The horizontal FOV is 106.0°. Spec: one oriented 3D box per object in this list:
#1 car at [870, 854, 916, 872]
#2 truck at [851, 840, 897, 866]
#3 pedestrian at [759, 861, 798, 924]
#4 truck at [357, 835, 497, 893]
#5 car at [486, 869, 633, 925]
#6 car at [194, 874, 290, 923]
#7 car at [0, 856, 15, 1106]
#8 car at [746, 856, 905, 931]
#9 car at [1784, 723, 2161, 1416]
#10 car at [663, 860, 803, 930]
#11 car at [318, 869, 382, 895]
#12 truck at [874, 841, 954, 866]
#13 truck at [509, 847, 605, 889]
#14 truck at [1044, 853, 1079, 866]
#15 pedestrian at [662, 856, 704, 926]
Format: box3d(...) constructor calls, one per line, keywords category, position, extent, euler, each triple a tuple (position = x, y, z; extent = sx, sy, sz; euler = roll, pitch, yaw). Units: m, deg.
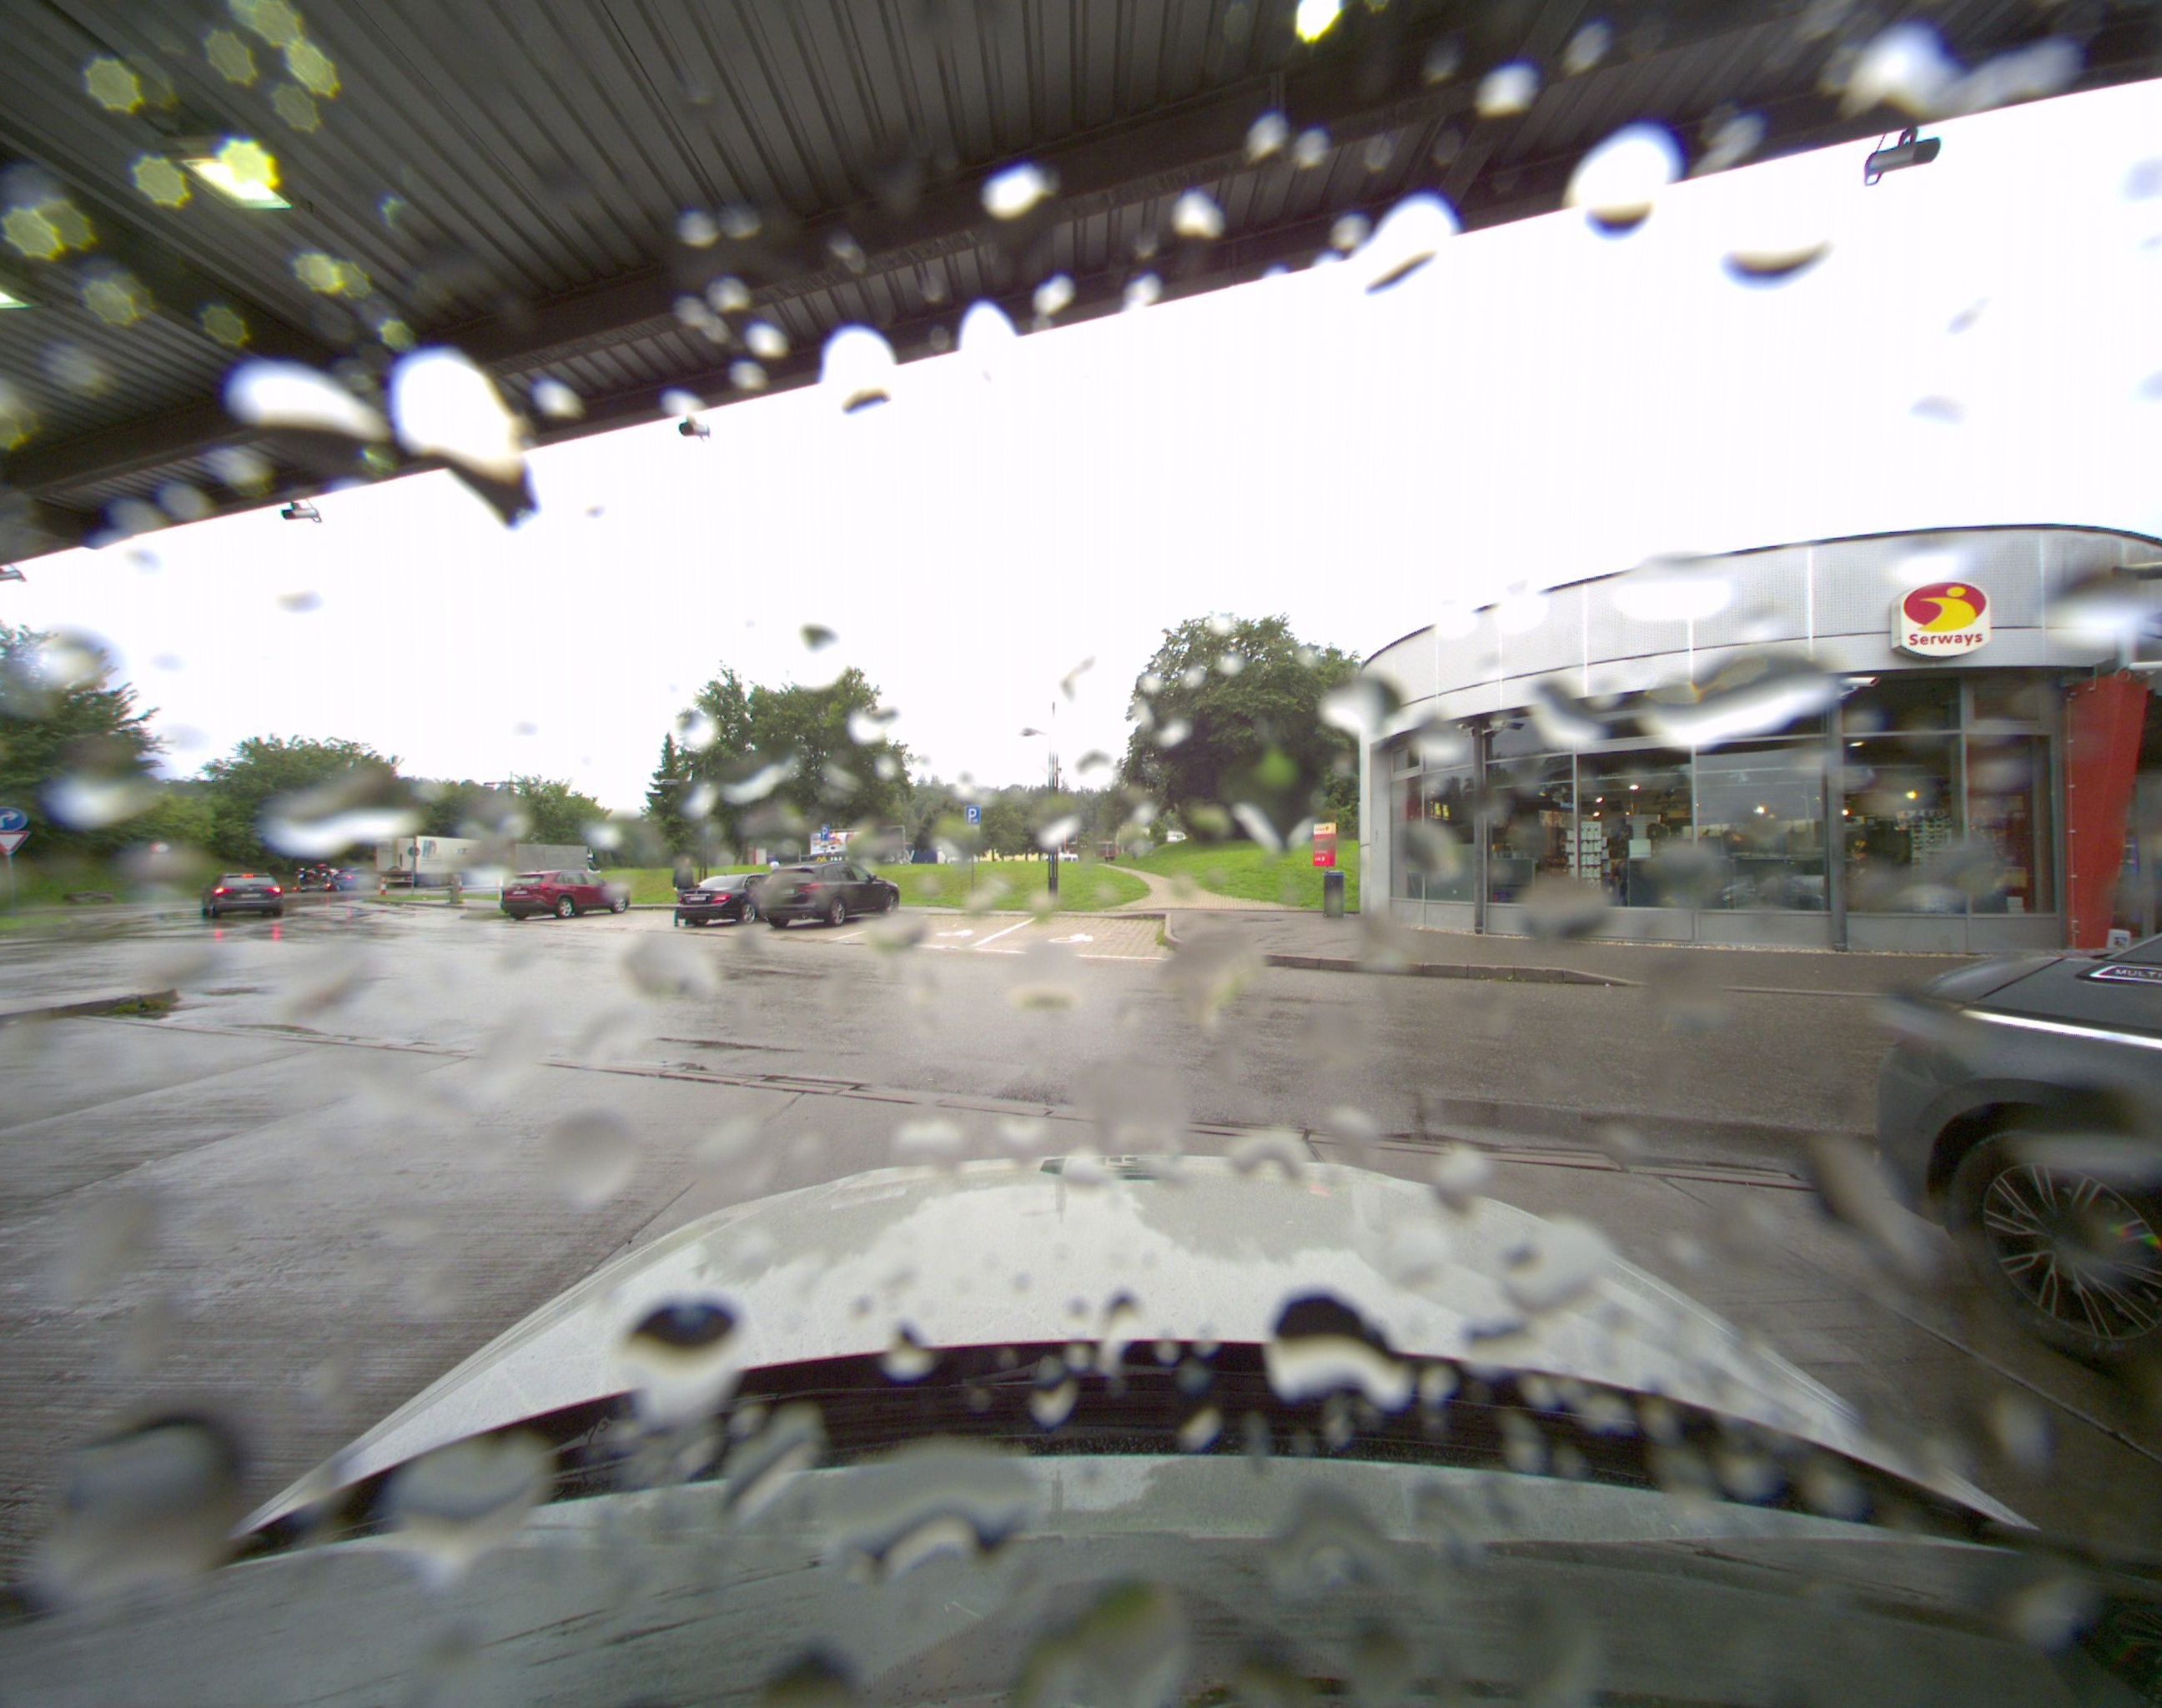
box3d(category="car", position=(-18.913, 0.911, 81.851), extent=(4.153, 1.783, 1.825), euler=(0, -1, -34))
box3d(category="truck", position=(-24.178, -0.091, 95.460), extent=(2.165, 2.920, 5.419), euler=(-1, -1, 27))
box3d(category="pedestrian", position=(-8.040, 1.009, 21.614), extent=(0.955, 1.631, 0.699), euler=(0, -1, -23))
box3d(category="truck", position=(-55.438, 0.840, 69.983), extent=(3.550, 4.340, 16.899), euler=(0, -1, -18))
box3d(category="car", position=(-18.132, 1.441, 28.597), extent=(1.928, 1.644, 4.352), euler=(-2, 0, 7))
box3d(category="car", position=(-31.776, 1.648, 30.822), extent=(3.948, 1.678, 2.013), euler=(-2, -1, 37))
box3d(category="car", position=(-7.963, 0.803, 2.680), extent=(1.854, 1.608, 5.273), euler=(0, 0, 2))
box3d(category="car", position=(-6.644, 0.970, 21.784), extent=(2.002, 1.711, 4.360), euler=(-2, 0, 14))
box3d(category="car", position=(3.679, 0.542, 0.681), extent=(1.854, 1.798, 5.142), euler=(0, -1, 2))
box3d(category="car", position=(-9.830, 1.081, 23.429), extent=(2.010, 1.711, 4.344), euler=(-2, 0, 1))
box3d(category="car", position=(-50.337, 1.880, 56.178), extent=(1.814, 1.681, 3.927), euler=(0, -1, -18))
box3d(category="truck", position=(-20.745, -0.060, 102.351), extent=(2.165, 2.920, 13.175), euler=(-1, -1, 26))
box3d(category="truck", position=(-40.175, 1.039, 62.783), extent=(2.468, 3.085, 7.357), euler=(0, -1, 1))
box3d(category="truck", position=(-3.239, 0.869, 134.109), extent=(5.356, 2.014, 2.381), euler=(-1, -1, 26))
box3d(category="pedestrian", position=(-10.981, 1.006, 22.451), extent=(0.882, 1.887, 0.708), euler=(-1, -1, 36))
